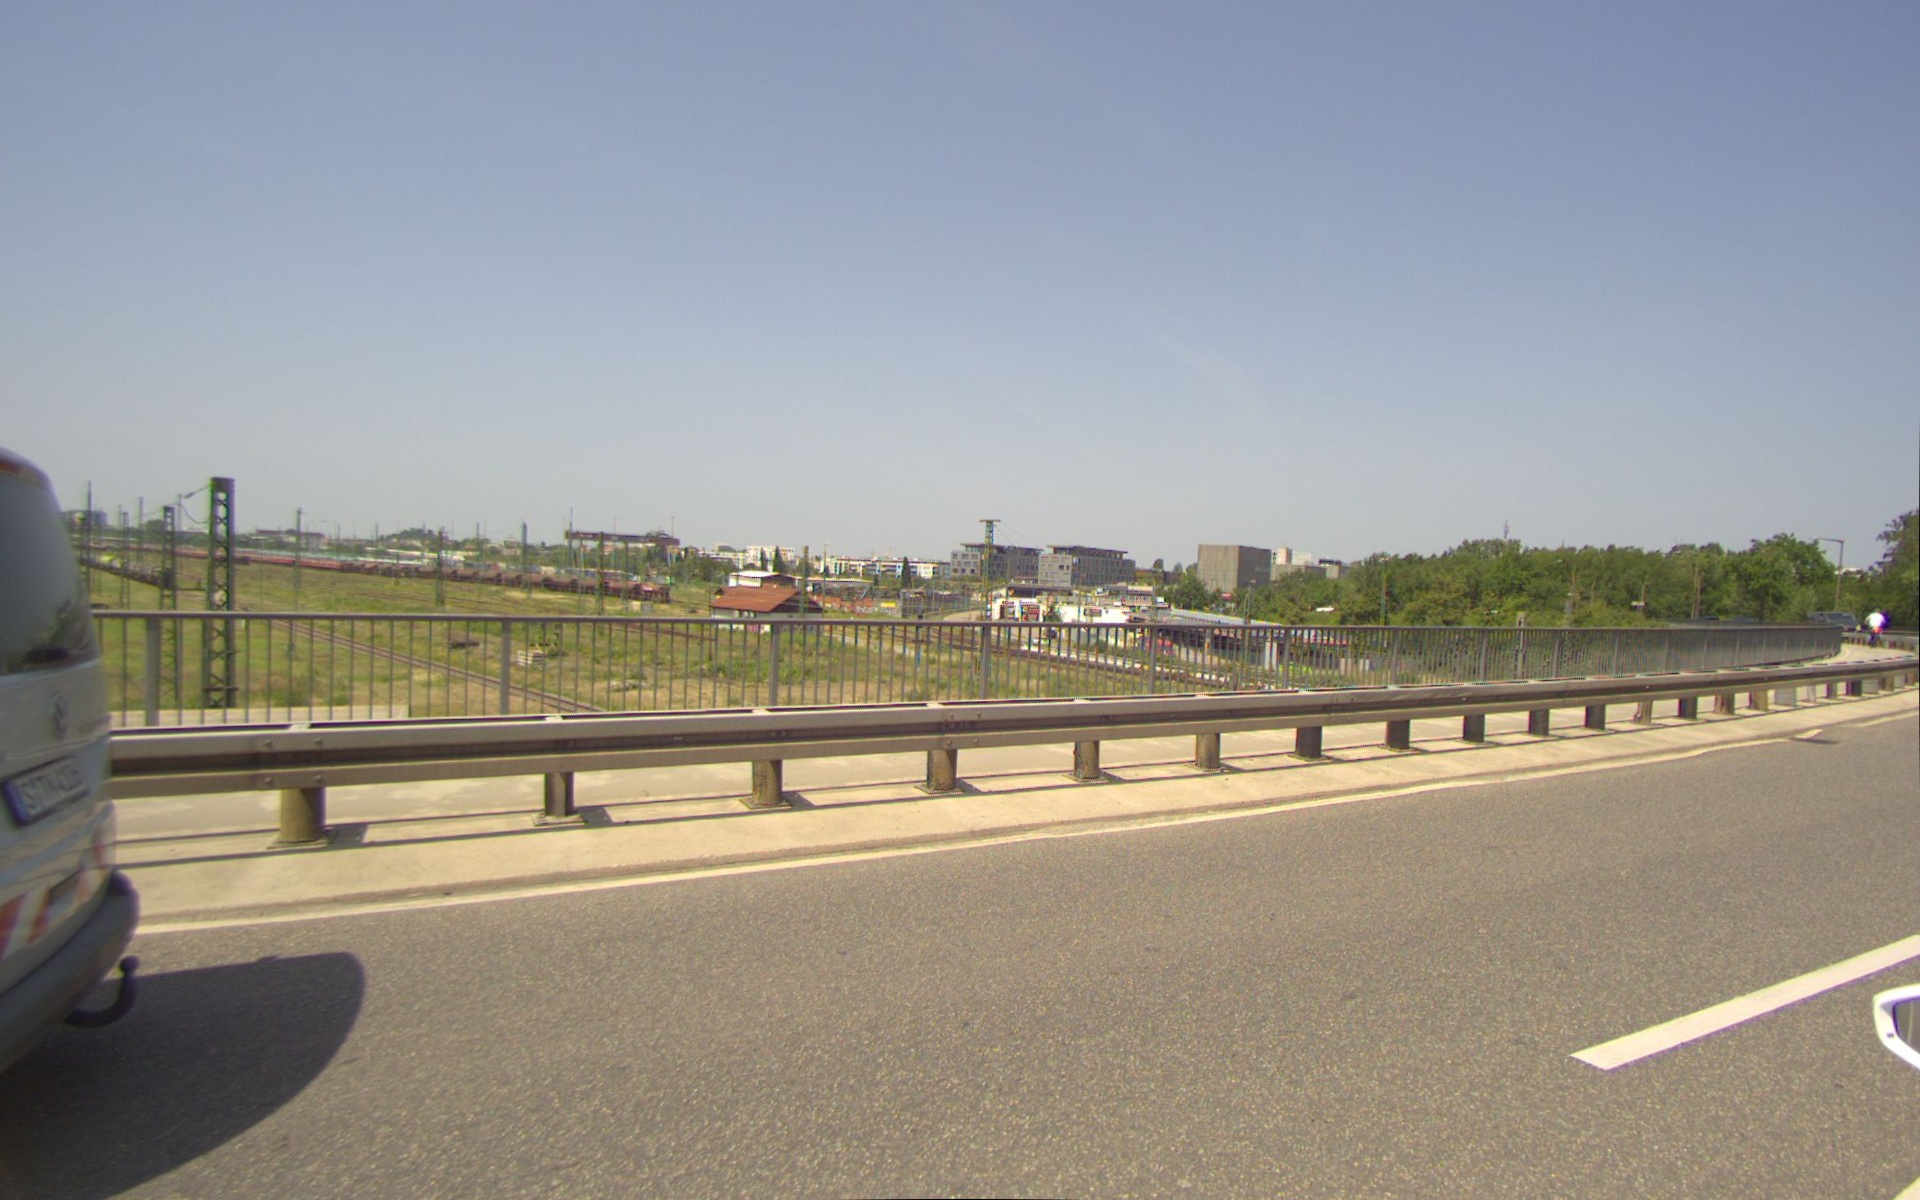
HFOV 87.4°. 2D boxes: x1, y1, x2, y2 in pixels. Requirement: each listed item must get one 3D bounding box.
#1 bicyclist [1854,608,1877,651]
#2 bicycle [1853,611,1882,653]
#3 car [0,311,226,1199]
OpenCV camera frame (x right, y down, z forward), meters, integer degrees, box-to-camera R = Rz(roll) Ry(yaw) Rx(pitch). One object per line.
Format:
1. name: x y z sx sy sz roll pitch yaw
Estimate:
1. bicyclist: 41.325 1.355 45.852 0.616 1.911 0.710 2 1 35
2. bicycle: 41.444 1.433 45.906 0.689 1.826 2.173 2 1 35
3. car: -4.486 0.370 1.861 4.751 2.026 1.854 1 0 -27
